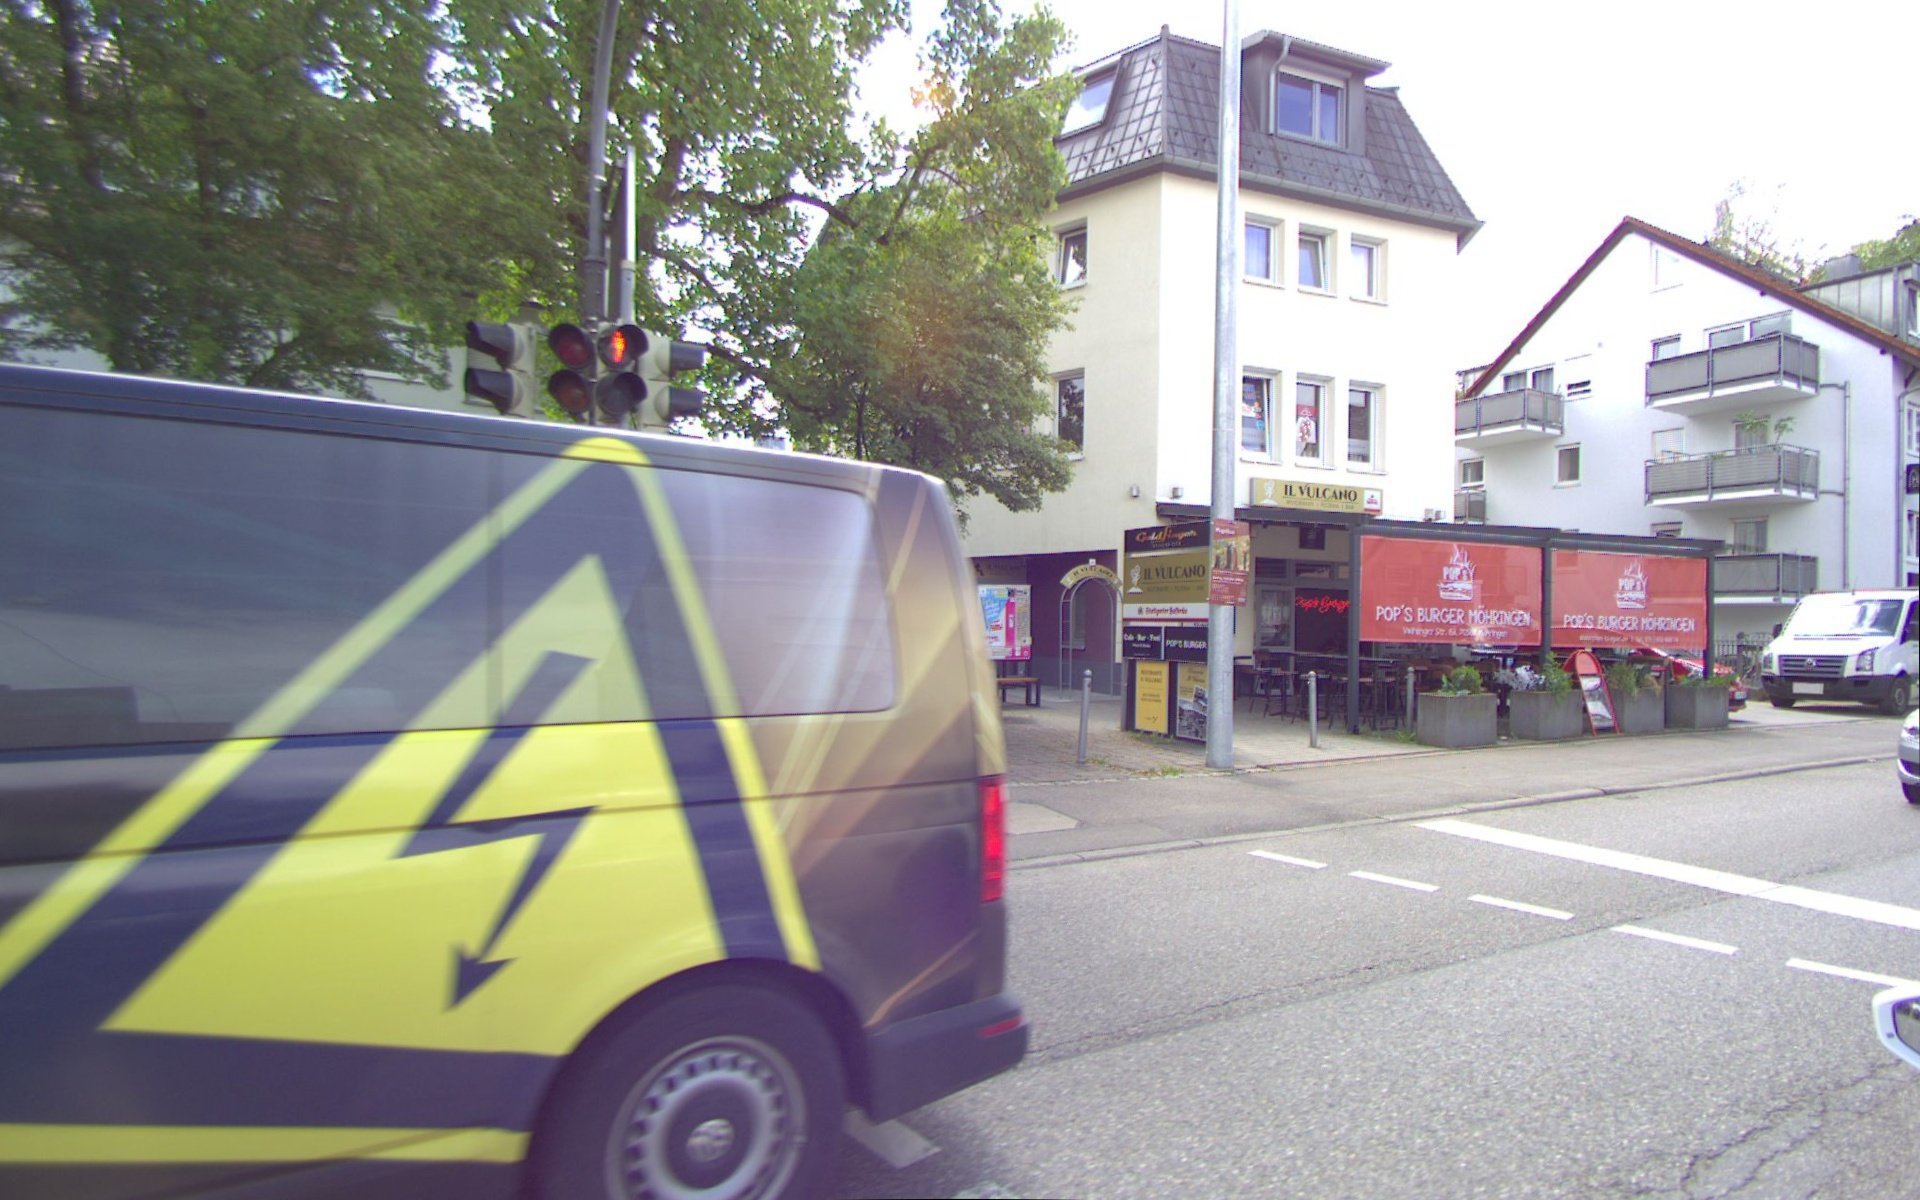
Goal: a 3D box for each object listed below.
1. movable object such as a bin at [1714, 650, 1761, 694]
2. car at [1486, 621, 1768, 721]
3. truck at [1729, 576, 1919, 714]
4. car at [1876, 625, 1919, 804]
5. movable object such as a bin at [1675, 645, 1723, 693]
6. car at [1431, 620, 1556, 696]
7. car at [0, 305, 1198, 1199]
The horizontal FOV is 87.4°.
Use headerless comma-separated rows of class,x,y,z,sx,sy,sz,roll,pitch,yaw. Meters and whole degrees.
movable object such as a bin,20.684,1.897,26.726,0.696,1.115,0.736,2,-1,-25
car,11.414,1.132,17.405,1.785,1.444,3.672,1,0,-32
truck,18.245,0.890,19.956,6.244,2.411,2.217,2,-1,-27
car,9.961,0.999,9.016,3.770,1.506,1.608,1,-1,-32
movable object such as a bin,20.242,1.884,27.511,0.699,1.274,0.807,2,-1,-25
car,11.375,1.211,21.600,1.534,1.489,2.850,1,-2,9
car,-1.836,0.530,2.344,4.697,1.938,1.867,1,0,-31
